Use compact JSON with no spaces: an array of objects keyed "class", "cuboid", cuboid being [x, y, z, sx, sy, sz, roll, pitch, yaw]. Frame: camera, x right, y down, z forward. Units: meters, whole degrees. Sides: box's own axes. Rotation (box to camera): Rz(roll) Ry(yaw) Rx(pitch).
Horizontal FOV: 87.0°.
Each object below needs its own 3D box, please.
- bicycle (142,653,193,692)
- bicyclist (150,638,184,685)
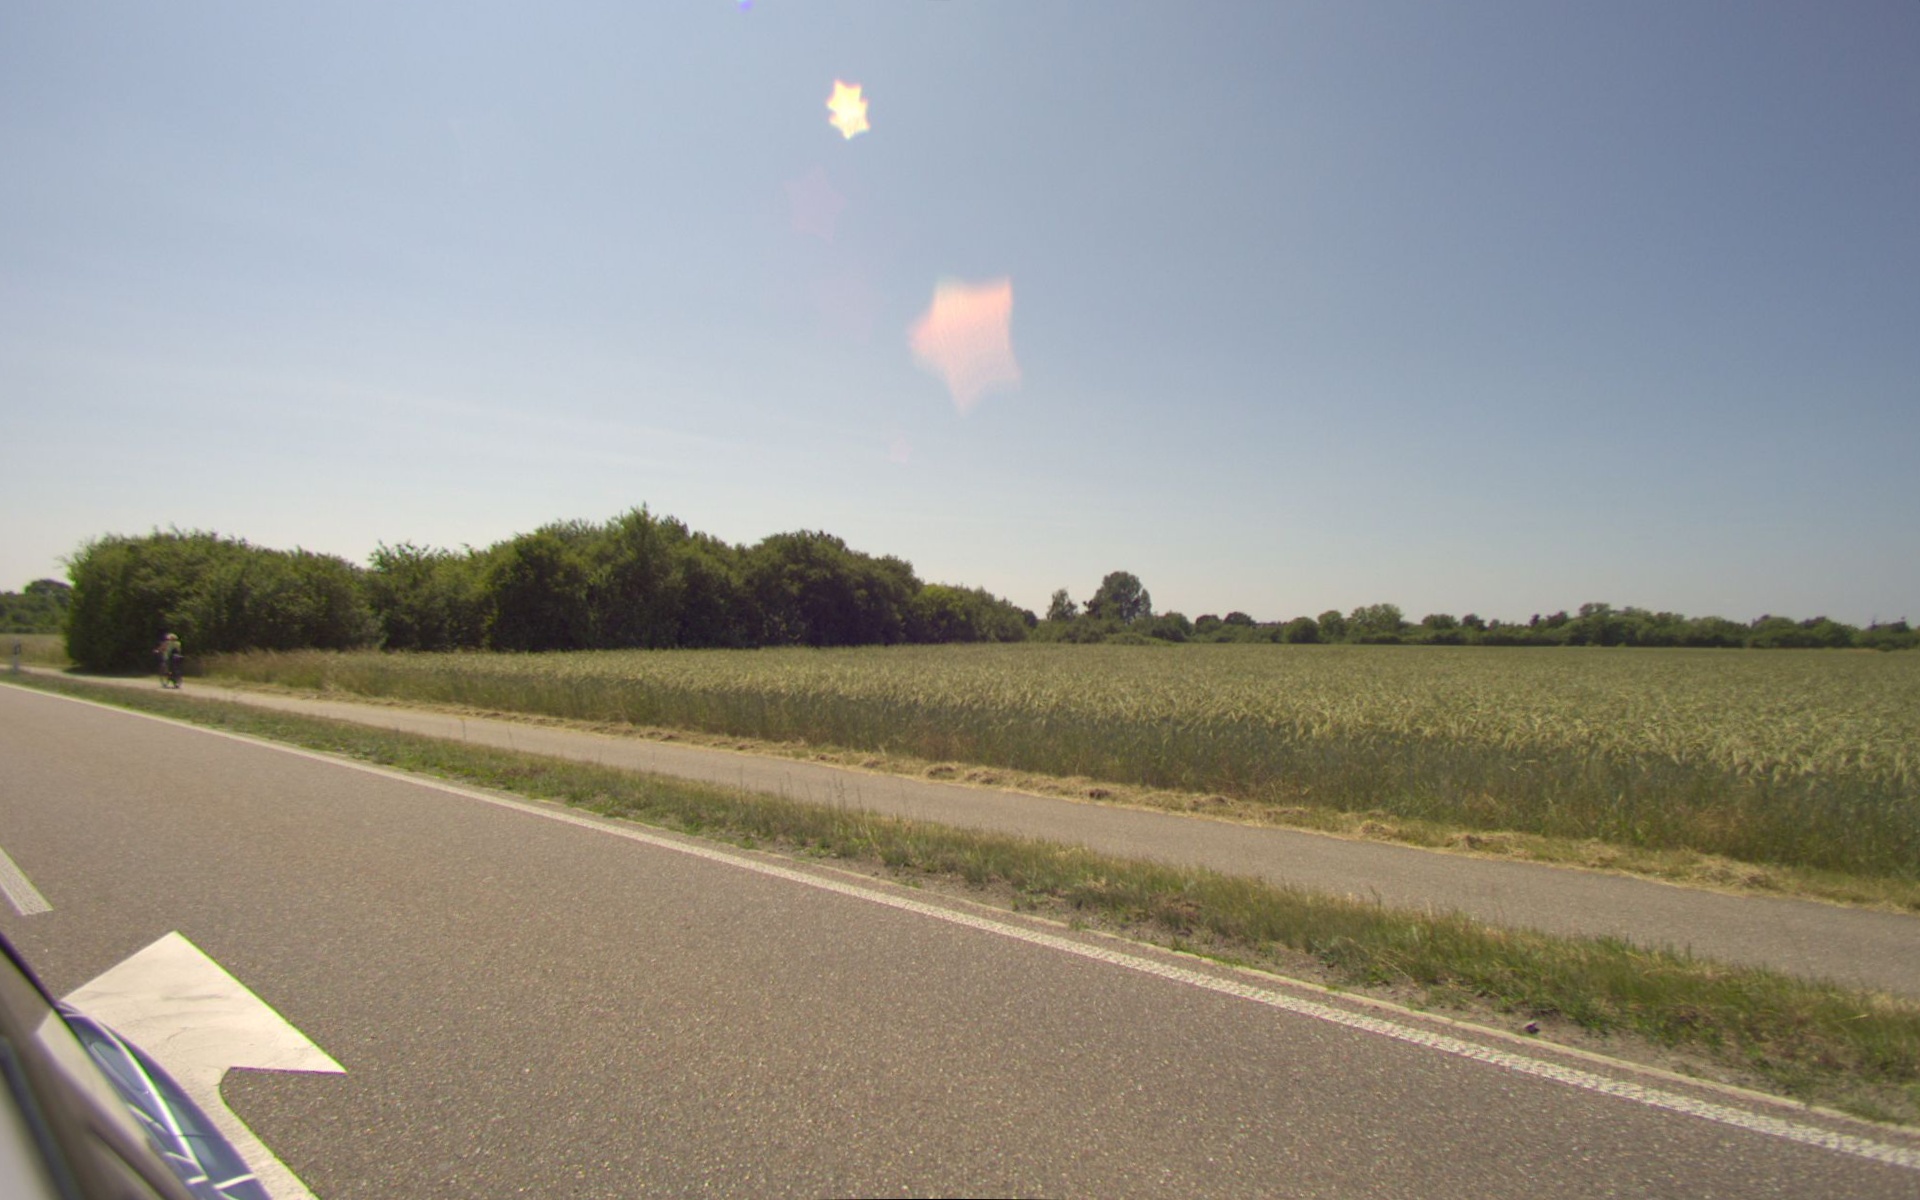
[{"class":"bicycle","cuboid":[-25.119,2.280,32.073,1.959,1.185,0.688,-2,-3,35]},{"class":"bicyclist","cuboid":[-25.100,1.928,32.018,0.821,1.449,0.657,-1,-1,37]}]
